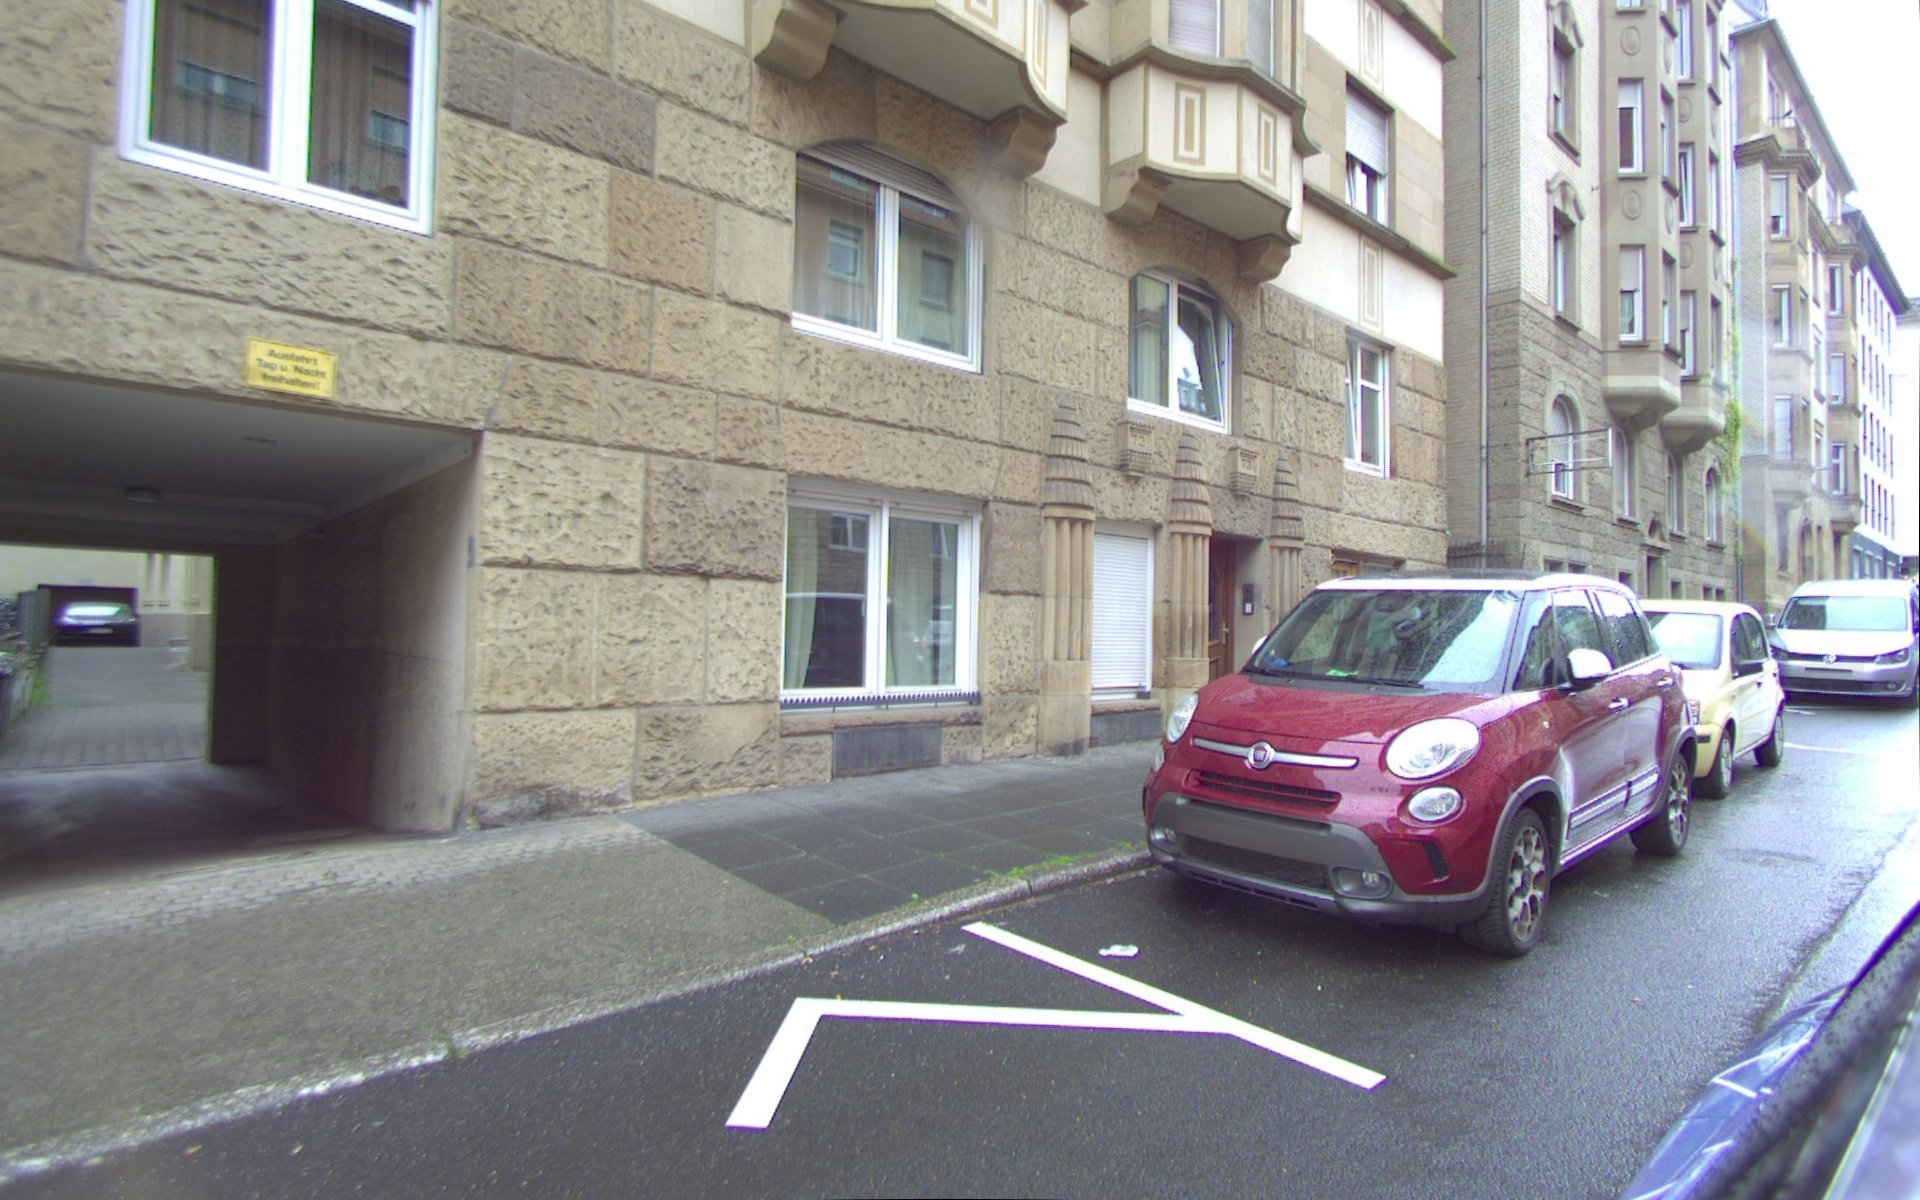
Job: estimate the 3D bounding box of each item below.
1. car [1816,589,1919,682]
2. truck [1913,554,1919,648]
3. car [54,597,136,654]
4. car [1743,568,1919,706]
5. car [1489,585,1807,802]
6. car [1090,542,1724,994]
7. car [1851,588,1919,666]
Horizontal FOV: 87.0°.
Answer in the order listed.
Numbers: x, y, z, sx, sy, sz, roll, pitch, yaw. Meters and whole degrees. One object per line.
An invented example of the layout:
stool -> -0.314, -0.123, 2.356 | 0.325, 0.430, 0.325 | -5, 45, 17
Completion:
car -> 17.190, 0.594, 18.515 | 3.934, 1.549, 1.994 | 0, -1, -45
truck -> 29.183, 0.016, 28.892 | 6.036, 2.568, 2.234 | 0, -1, -41
car -> -25.165, 0.716, 29.475 | 1.692, 1.541, 4.098 | 0, -1, -41
car -> 13.782, 0.494, 15.525 | 4.380, 1.825, 1.966 | 0, -1, -41
car -> 6.218, 0.669, 9.008 | 3.517, 1.549, 1.578 | 0, -1, -43
car -> 2.696, 0.606, 5.646 | 3.932, 1.619, 1.804 | 0, -1, -42
car -> 20.496, 0.541, 21.455 | 3.860, 1.549, 1.889 | 0, -1, -41
